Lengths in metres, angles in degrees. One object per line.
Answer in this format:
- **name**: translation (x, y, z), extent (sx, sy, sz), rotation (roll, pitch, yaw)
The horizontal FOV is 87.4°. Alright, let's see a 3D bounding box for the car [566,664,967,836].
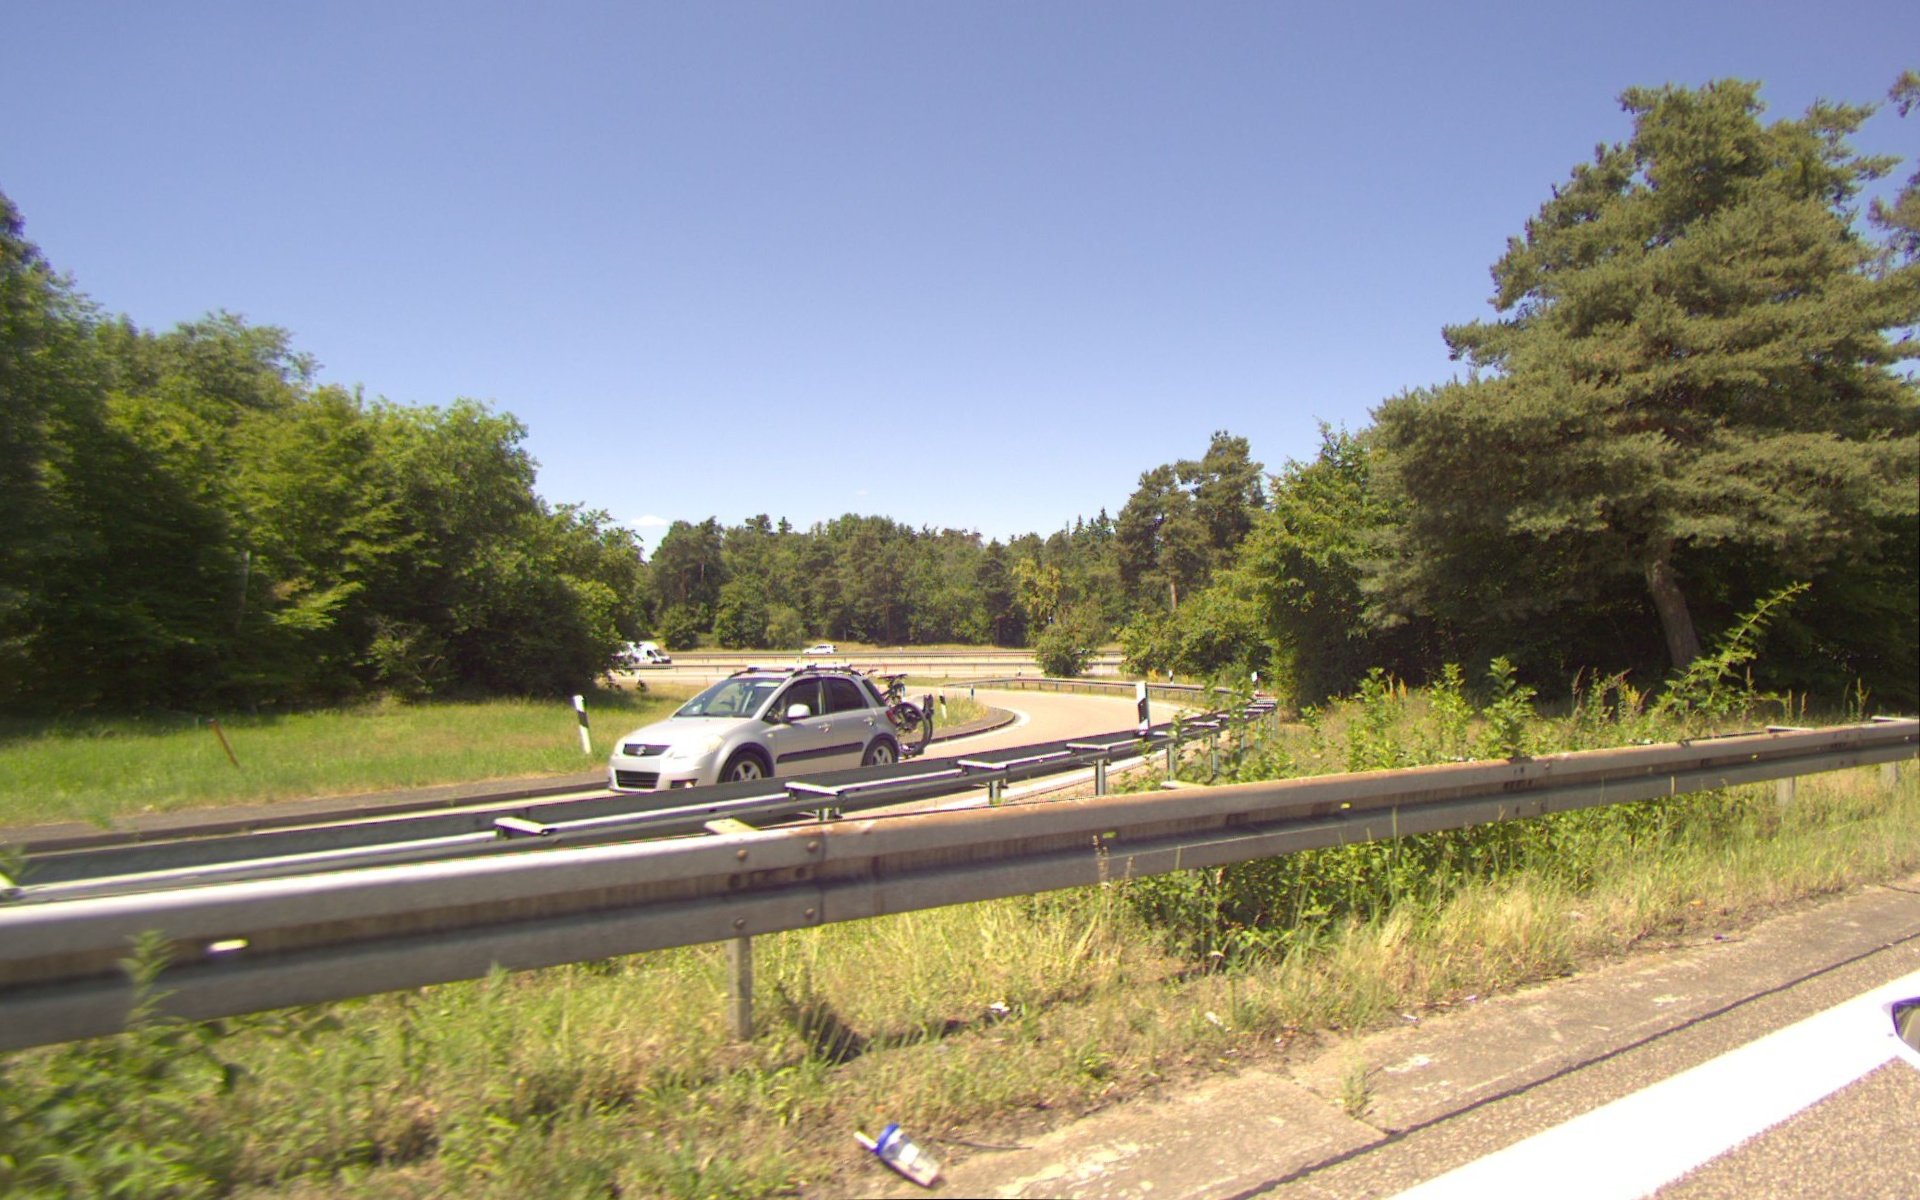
- **car**: translation (-2.121, 1.673, 12.764), extent (1.966, 1.662, 5.260), rotation (-2, -4, 32)

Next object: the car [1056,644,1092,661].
- **car**: translation (12.864, 5.898, 112.797), extent (3.919, 1.802, 2.002), rotation (-1, -3, 9)
